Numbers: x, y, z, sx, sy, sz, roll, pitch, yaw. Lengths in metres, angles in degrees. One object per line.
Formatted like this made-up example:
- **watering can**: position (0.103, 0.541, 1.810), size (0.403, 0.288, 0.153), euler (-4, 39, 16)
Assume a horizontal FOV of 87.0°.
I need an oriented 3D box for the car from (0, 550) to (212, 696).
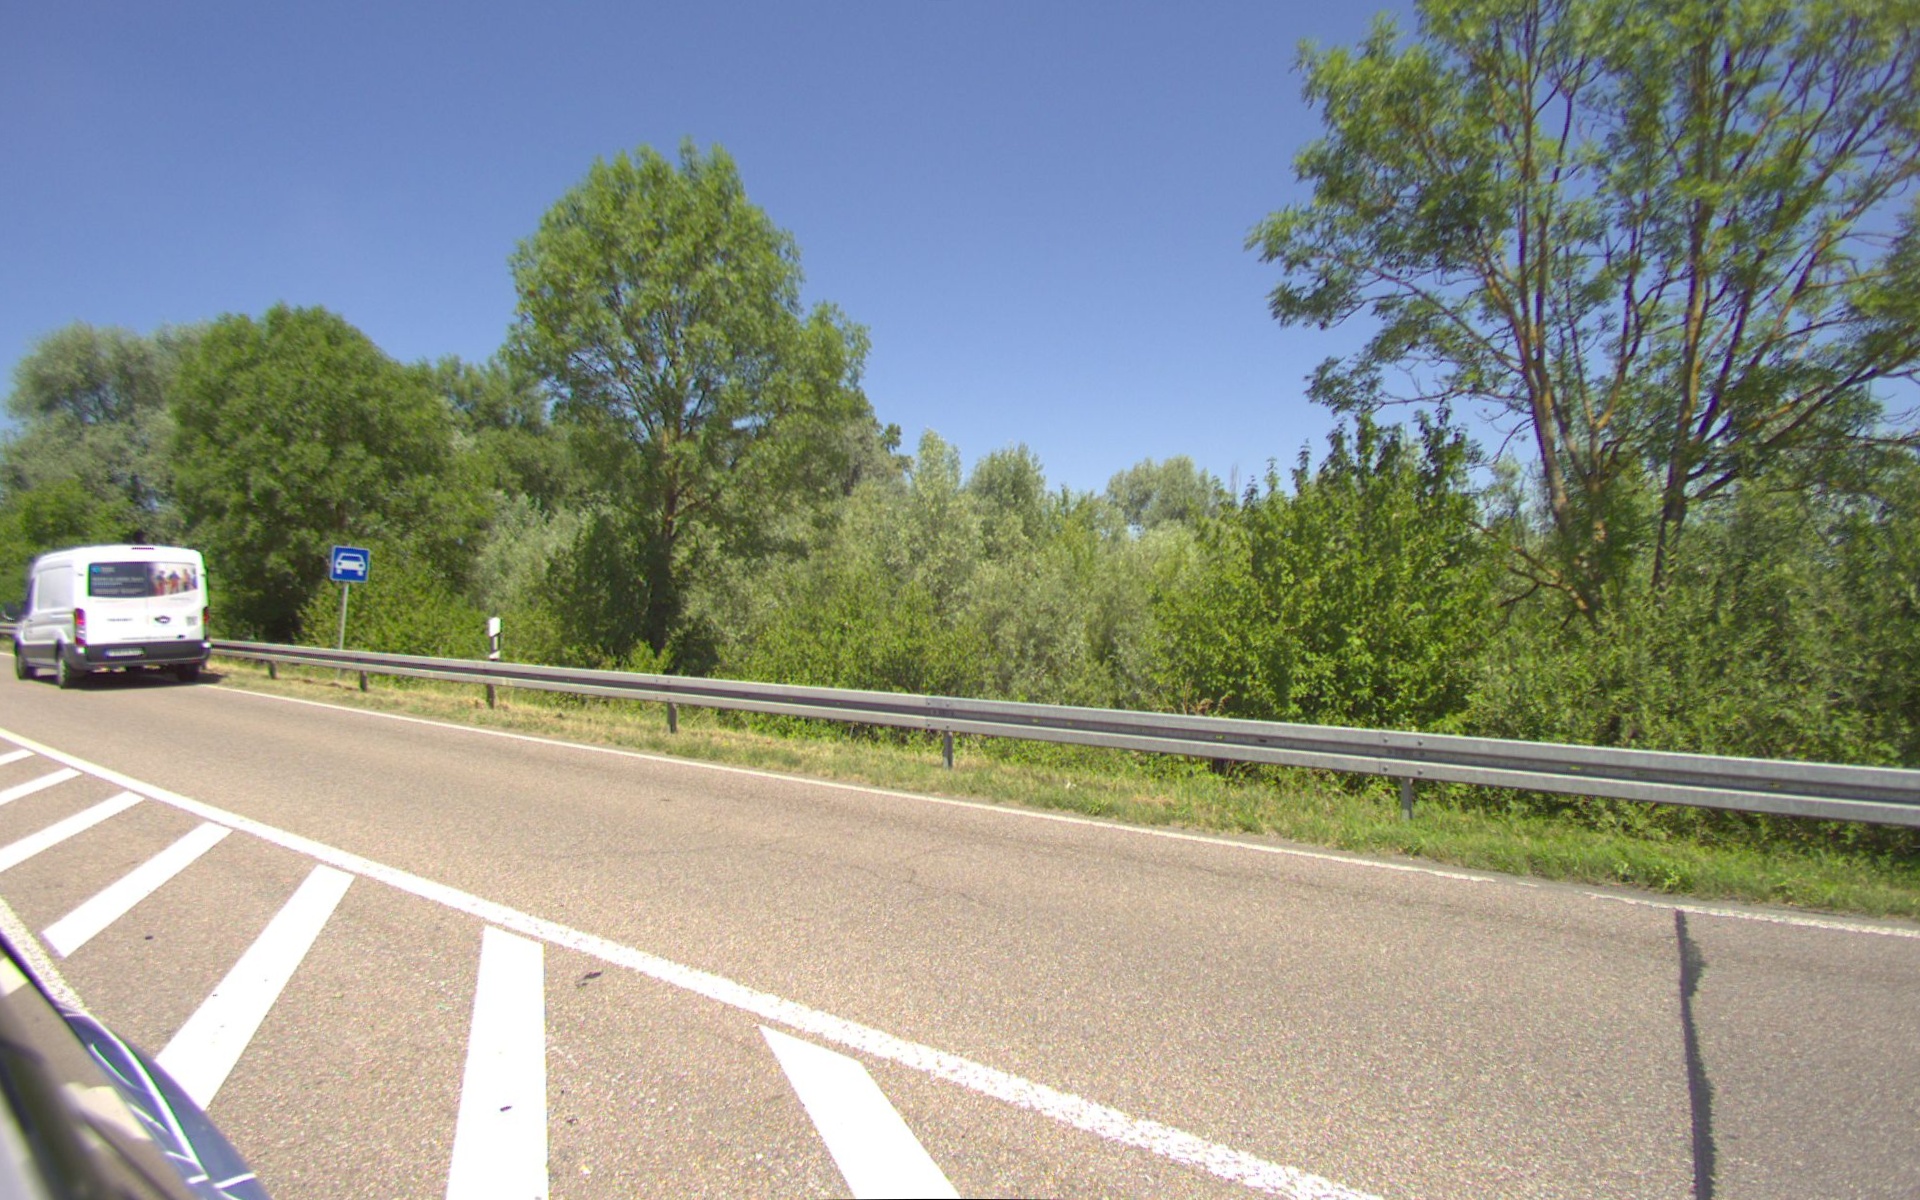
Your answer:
- **car**: position (-16.505, 0.392, 19.399), size (5.580, 2.435, 1.975), euler (0, -1, 37)
